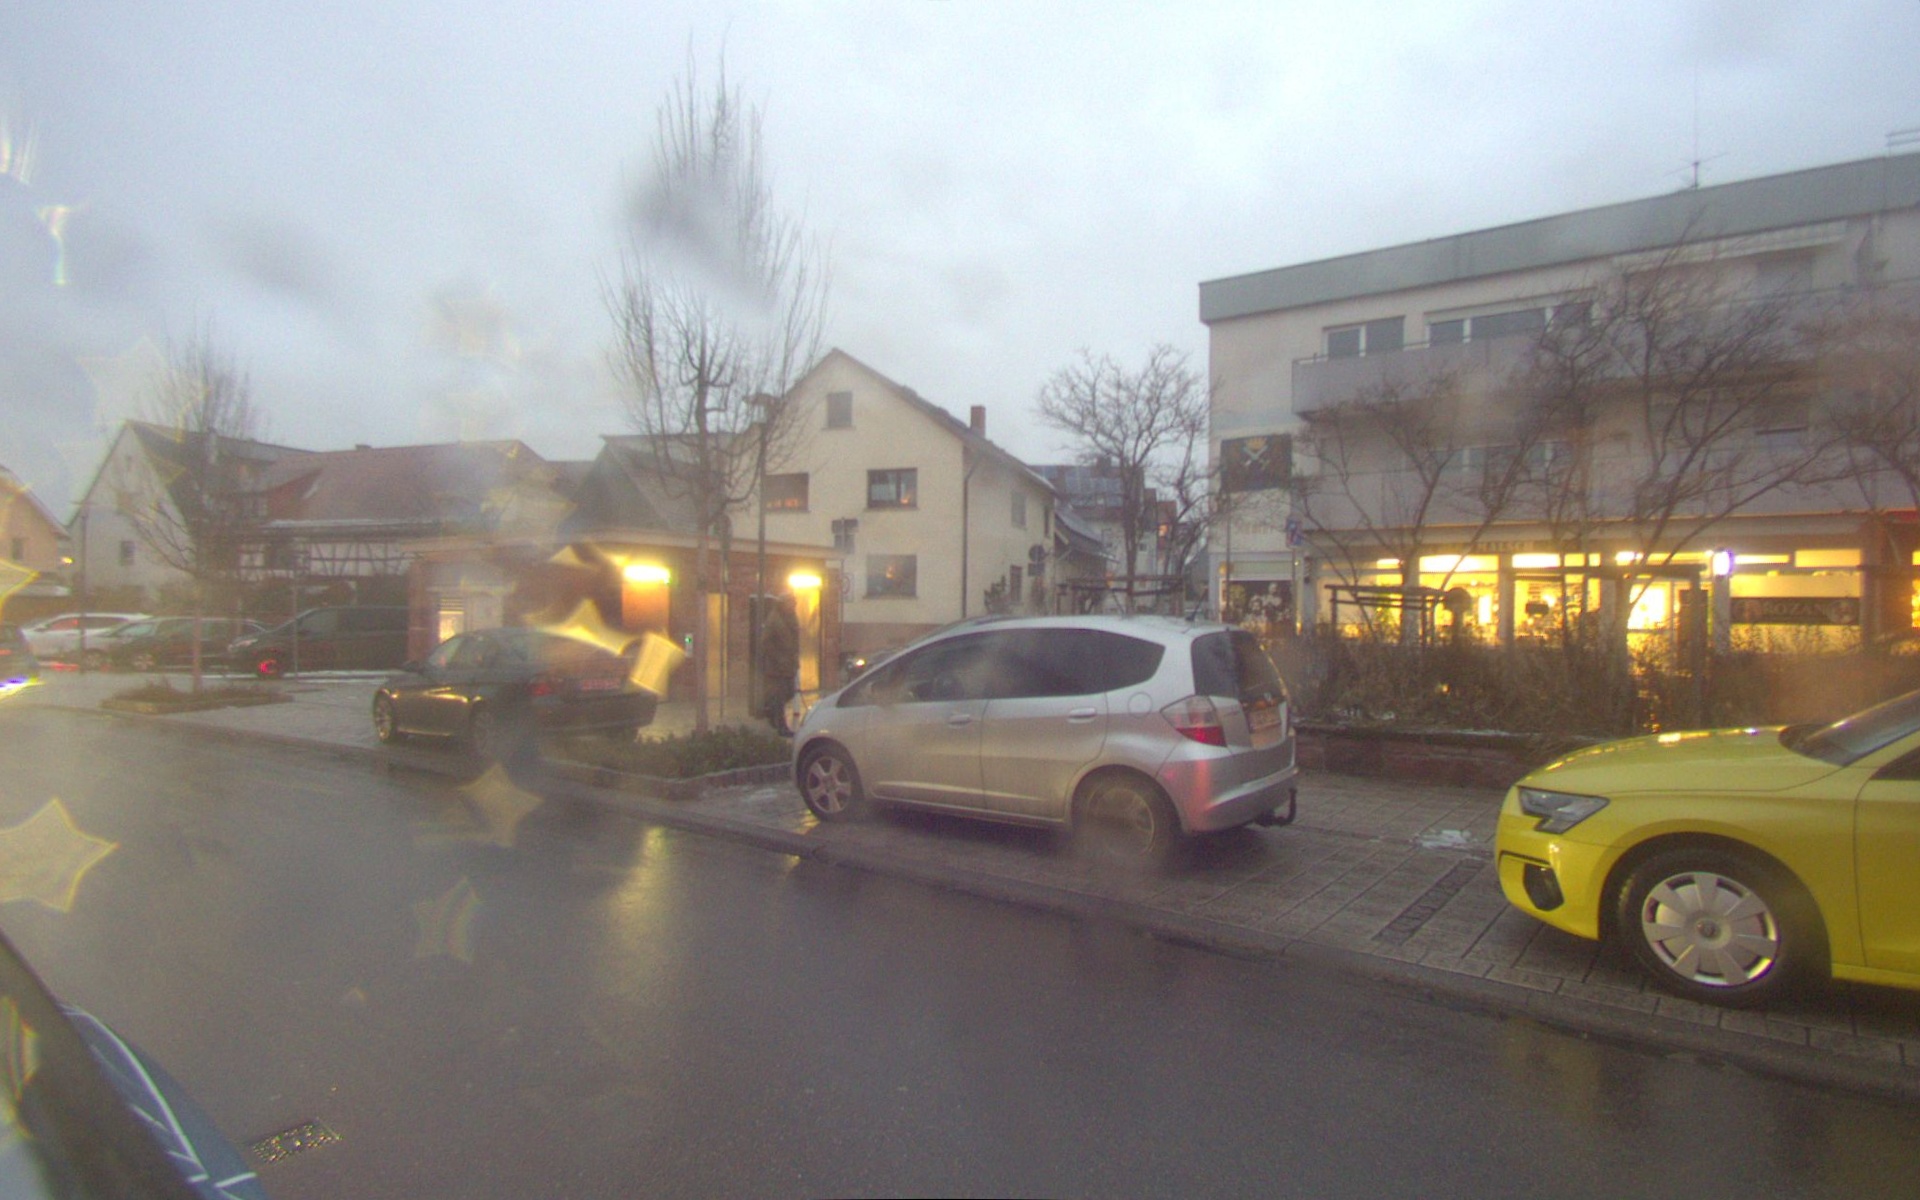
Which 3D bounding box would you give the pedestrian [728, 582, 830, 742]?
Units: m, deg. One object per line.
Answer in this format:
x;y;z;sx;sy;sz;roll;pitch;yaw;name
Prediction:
-2.244;0.739;12.524;1.060;1.881;0.746;-1;-2;41;pedestrian

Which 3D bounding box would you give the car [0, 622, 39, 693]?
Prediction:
-23.068;1.306;23.172;3.658;1.547;1.822;-1;-1;28;car

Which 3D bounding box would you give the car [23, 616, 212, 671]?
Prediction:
-27.262;1.368;32.899;4.583;1.666;1.991;2;-2;-41;car

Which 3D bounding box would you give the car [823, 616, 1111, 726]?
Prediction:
0.128;1.035;15.398;4.018;1.488;1.745;2;-3;-26;car

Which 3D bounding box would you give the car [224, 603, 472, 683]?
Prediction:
-15.822;1.117;26.370;5.307;1.900;2.079;2;-3;-34;car

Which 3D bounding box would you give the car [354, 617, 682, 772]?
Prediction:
-5.348;0.966;11.979;4.454;1.483;1.729;-1;0;39;car

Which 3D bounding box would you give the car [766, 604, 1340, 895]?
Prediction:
0.516;0.826;7.213;3.768;1.528;1.676;-1;0;38;car

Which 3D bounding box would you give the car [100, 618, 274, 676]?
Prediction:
-22.571;1.336;29.718;3.934;1.541;2.004;0;-1;-37;car

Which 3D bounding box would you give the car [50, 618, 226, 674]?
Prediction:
-25.144;1.407;31.063;4.049;1.594;1.723;2;-3;-41;car

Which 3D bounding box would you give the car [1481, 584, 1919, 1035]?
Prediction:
4.438;0.694;3.550;4.341;1.528;1.730;-1;0;42;car

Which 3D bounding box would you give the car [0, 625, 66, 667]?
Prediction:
-33.966;1.600;35.329;1.758;1.470;4.015;-1;-2;44;car
